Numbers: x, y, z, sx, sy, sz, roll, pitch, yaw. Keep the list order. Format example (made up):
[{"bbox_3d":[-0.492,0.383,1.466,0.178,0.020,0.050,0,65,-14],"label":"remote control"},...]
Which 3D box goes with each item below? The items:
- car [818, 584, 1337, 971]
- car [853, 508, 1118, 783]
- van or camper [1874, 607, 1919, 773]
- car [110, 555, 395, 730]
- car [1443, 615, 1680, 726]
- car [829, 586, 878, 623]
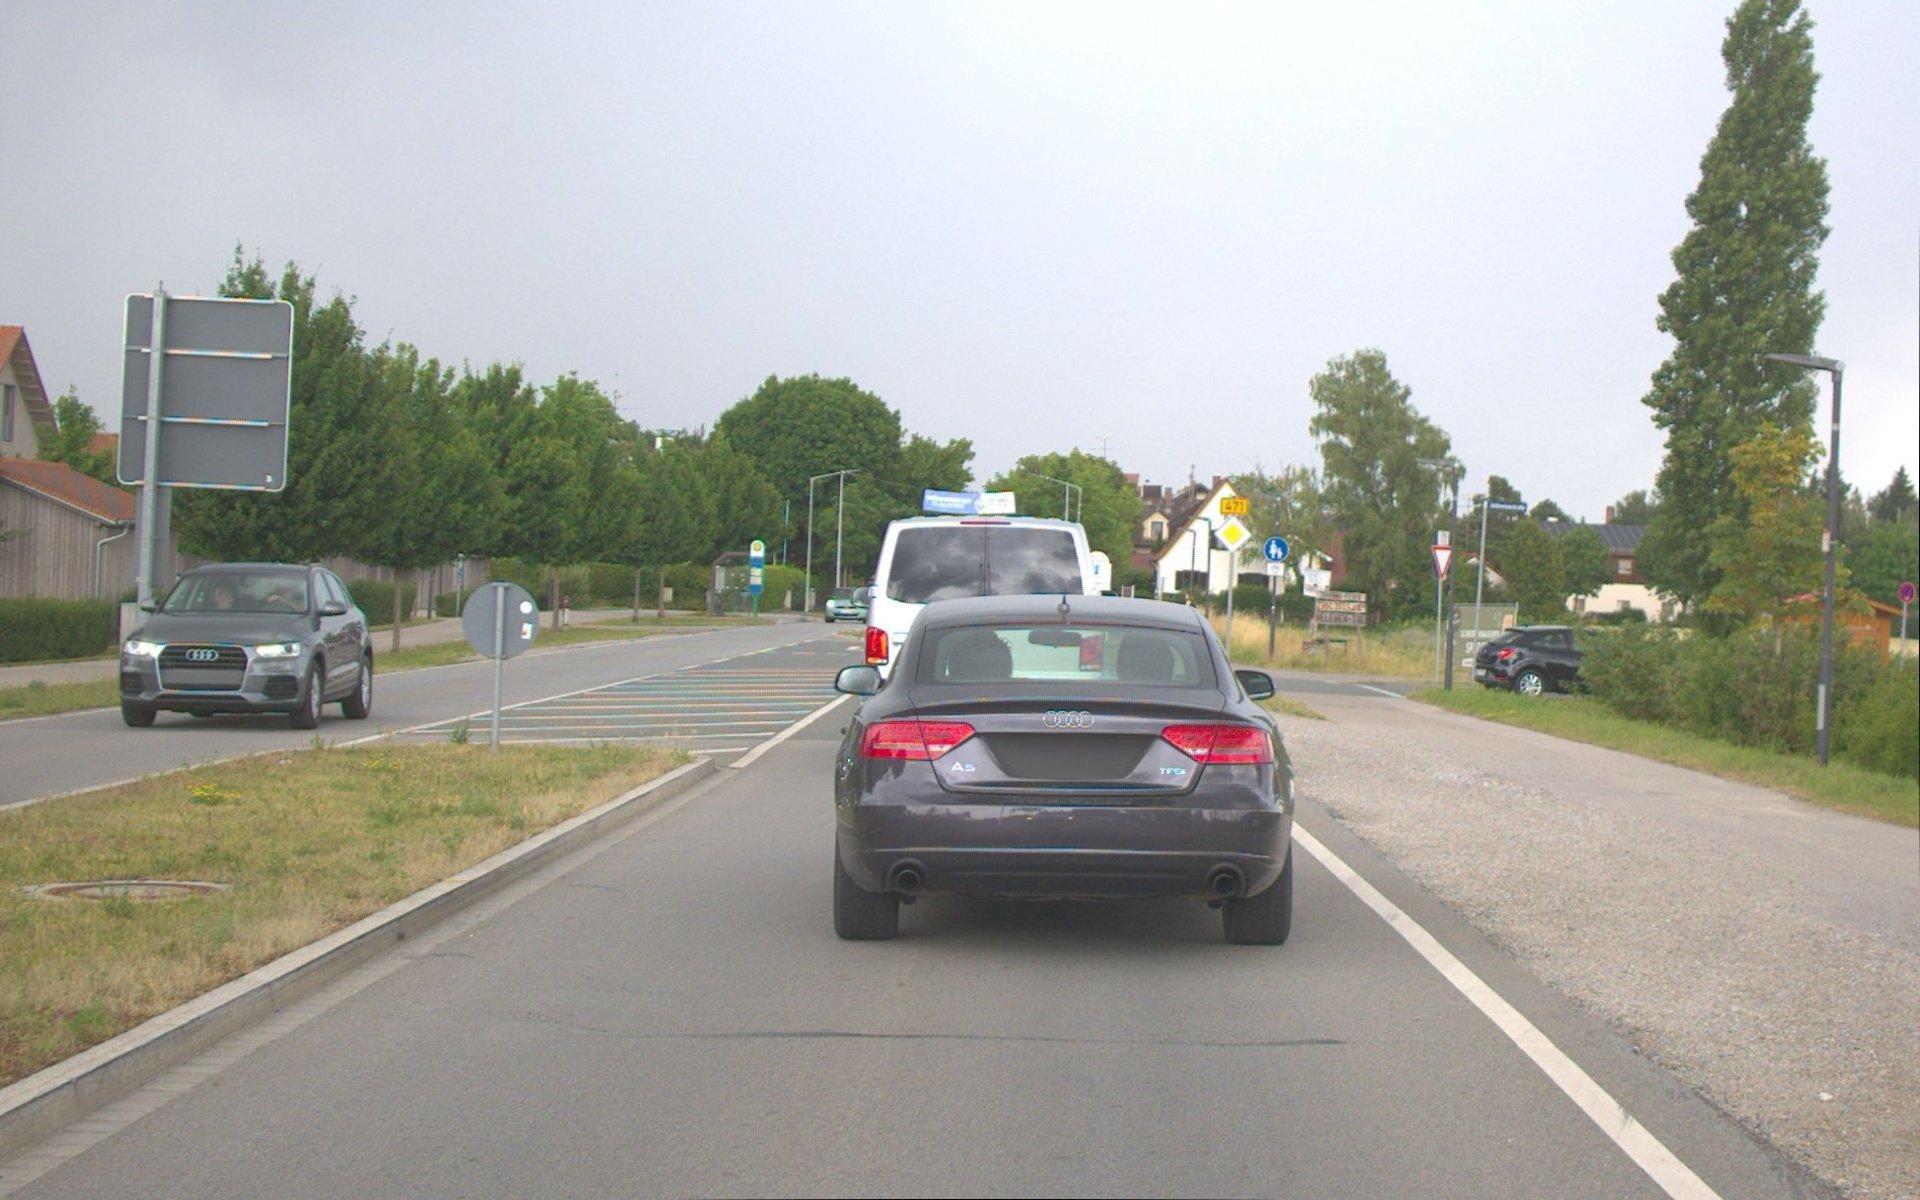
[{"bbox_3d":[0.347,0.649,14.893,1.825,1.384,4.388,0,1,-3],"label":"car"},{"bbox_3d":[0.163,0.315,27.136,1.825,1.907,4.000,3,1,-1],"label":"car"},{"bbox_3d":[17.579,1.393,52.733,6.466,2.456,2.282,1,0,-1],"label":"van or camper"},{"bbox_3d":[-6.809,0.365,33.507,1.825,1.577,4.216,1,1,1],"label":"car"},{"bbox_3d":[11.399,1.323,65.263,3.986,2.007,2.000,1,0,-7],"label":"car"},{"bbox_3d":[-4.282,0.171,138.367,1.770,1.439,4.000,1,1,1],"label":"car"}]
